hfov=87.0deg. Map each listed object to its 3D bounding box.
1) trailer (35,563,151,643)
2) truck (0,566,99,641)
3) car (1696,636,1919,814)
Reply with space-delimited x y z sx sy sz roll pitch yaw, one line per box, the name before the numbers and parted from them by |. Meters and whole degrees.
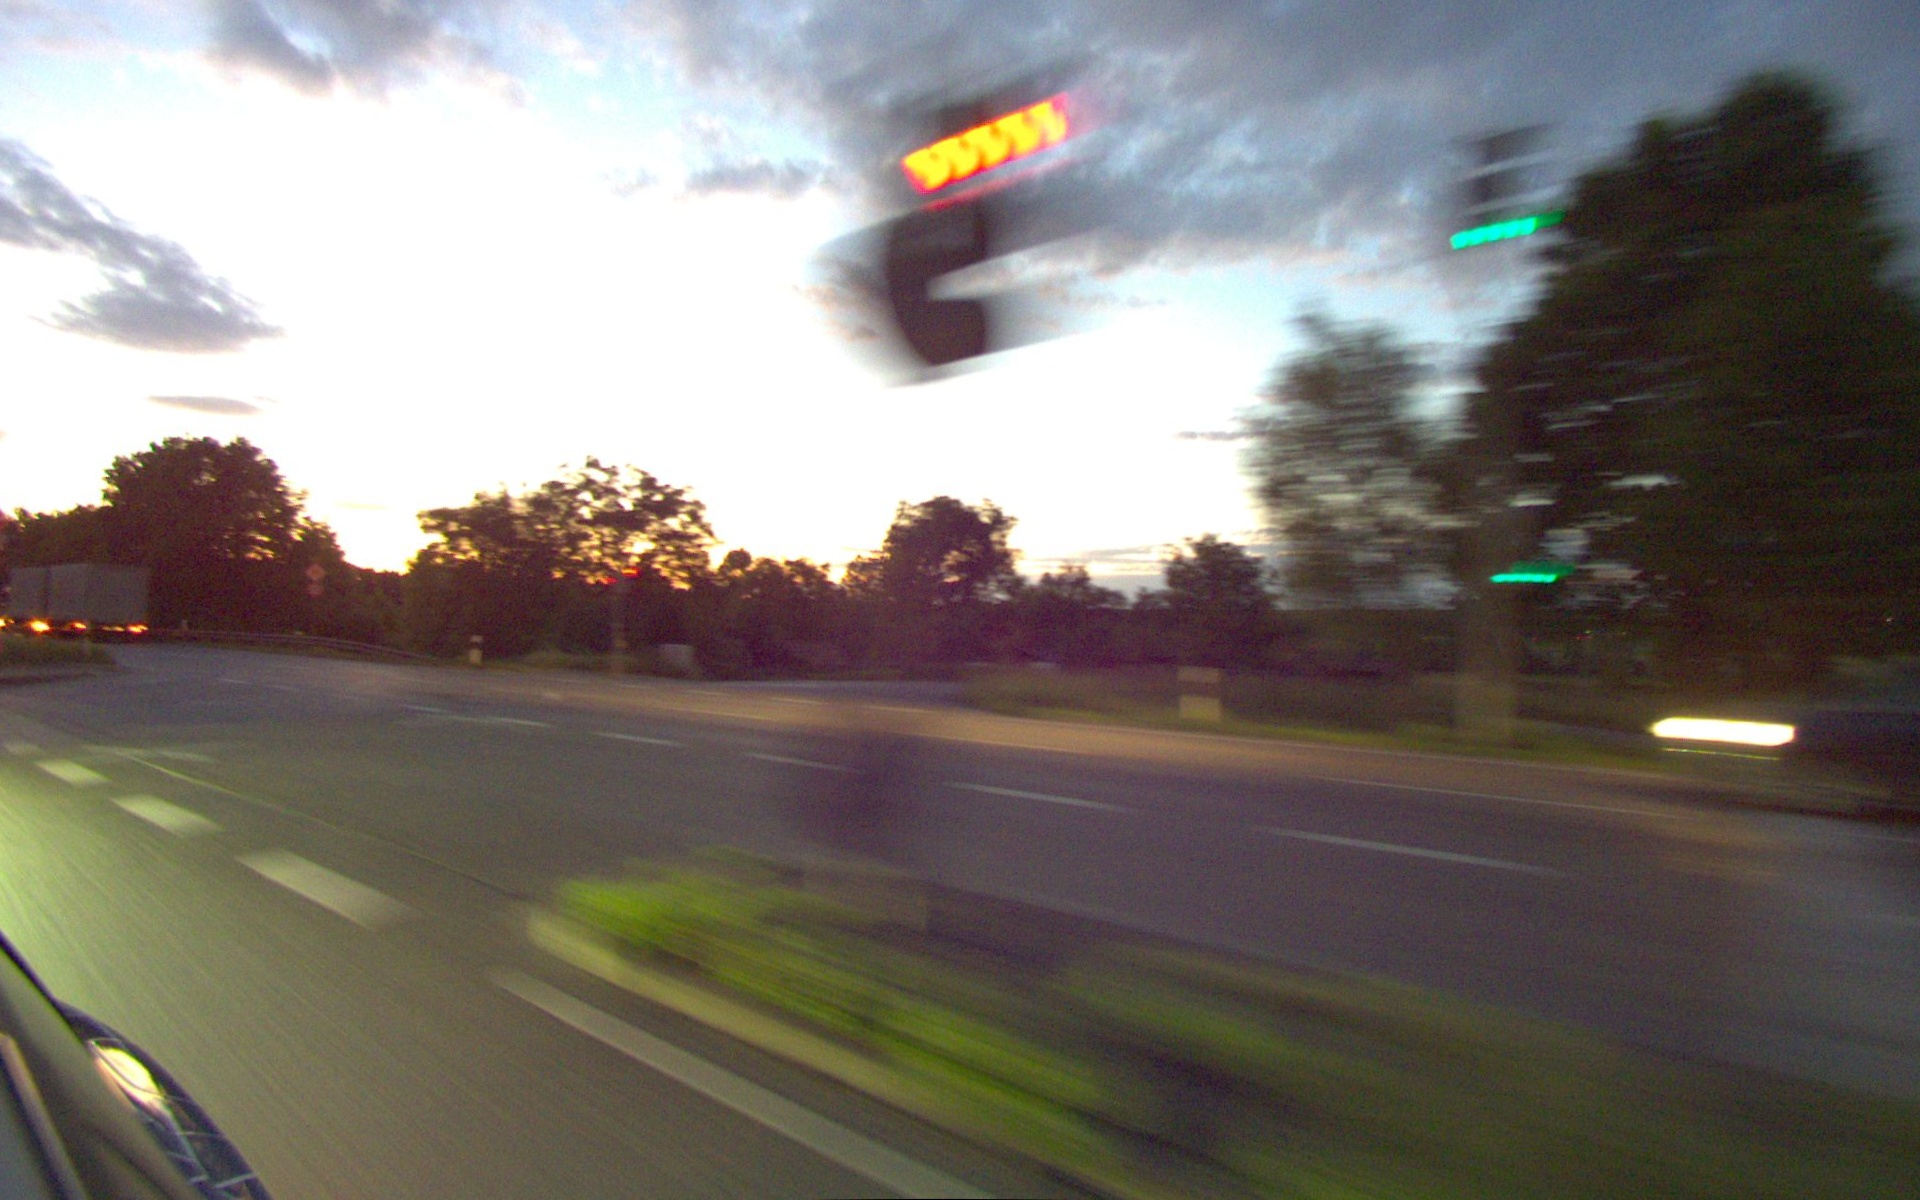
trailer | -46.419 0.218 54.095 8.859 3.973 2.554 0 -3 36
truck | -54.175 0.213 59.856 10.328 4.148 2.701 0 -1 37
car | 8.896 1.081 8.779 4.025 1.395 1.636 0 0 38
